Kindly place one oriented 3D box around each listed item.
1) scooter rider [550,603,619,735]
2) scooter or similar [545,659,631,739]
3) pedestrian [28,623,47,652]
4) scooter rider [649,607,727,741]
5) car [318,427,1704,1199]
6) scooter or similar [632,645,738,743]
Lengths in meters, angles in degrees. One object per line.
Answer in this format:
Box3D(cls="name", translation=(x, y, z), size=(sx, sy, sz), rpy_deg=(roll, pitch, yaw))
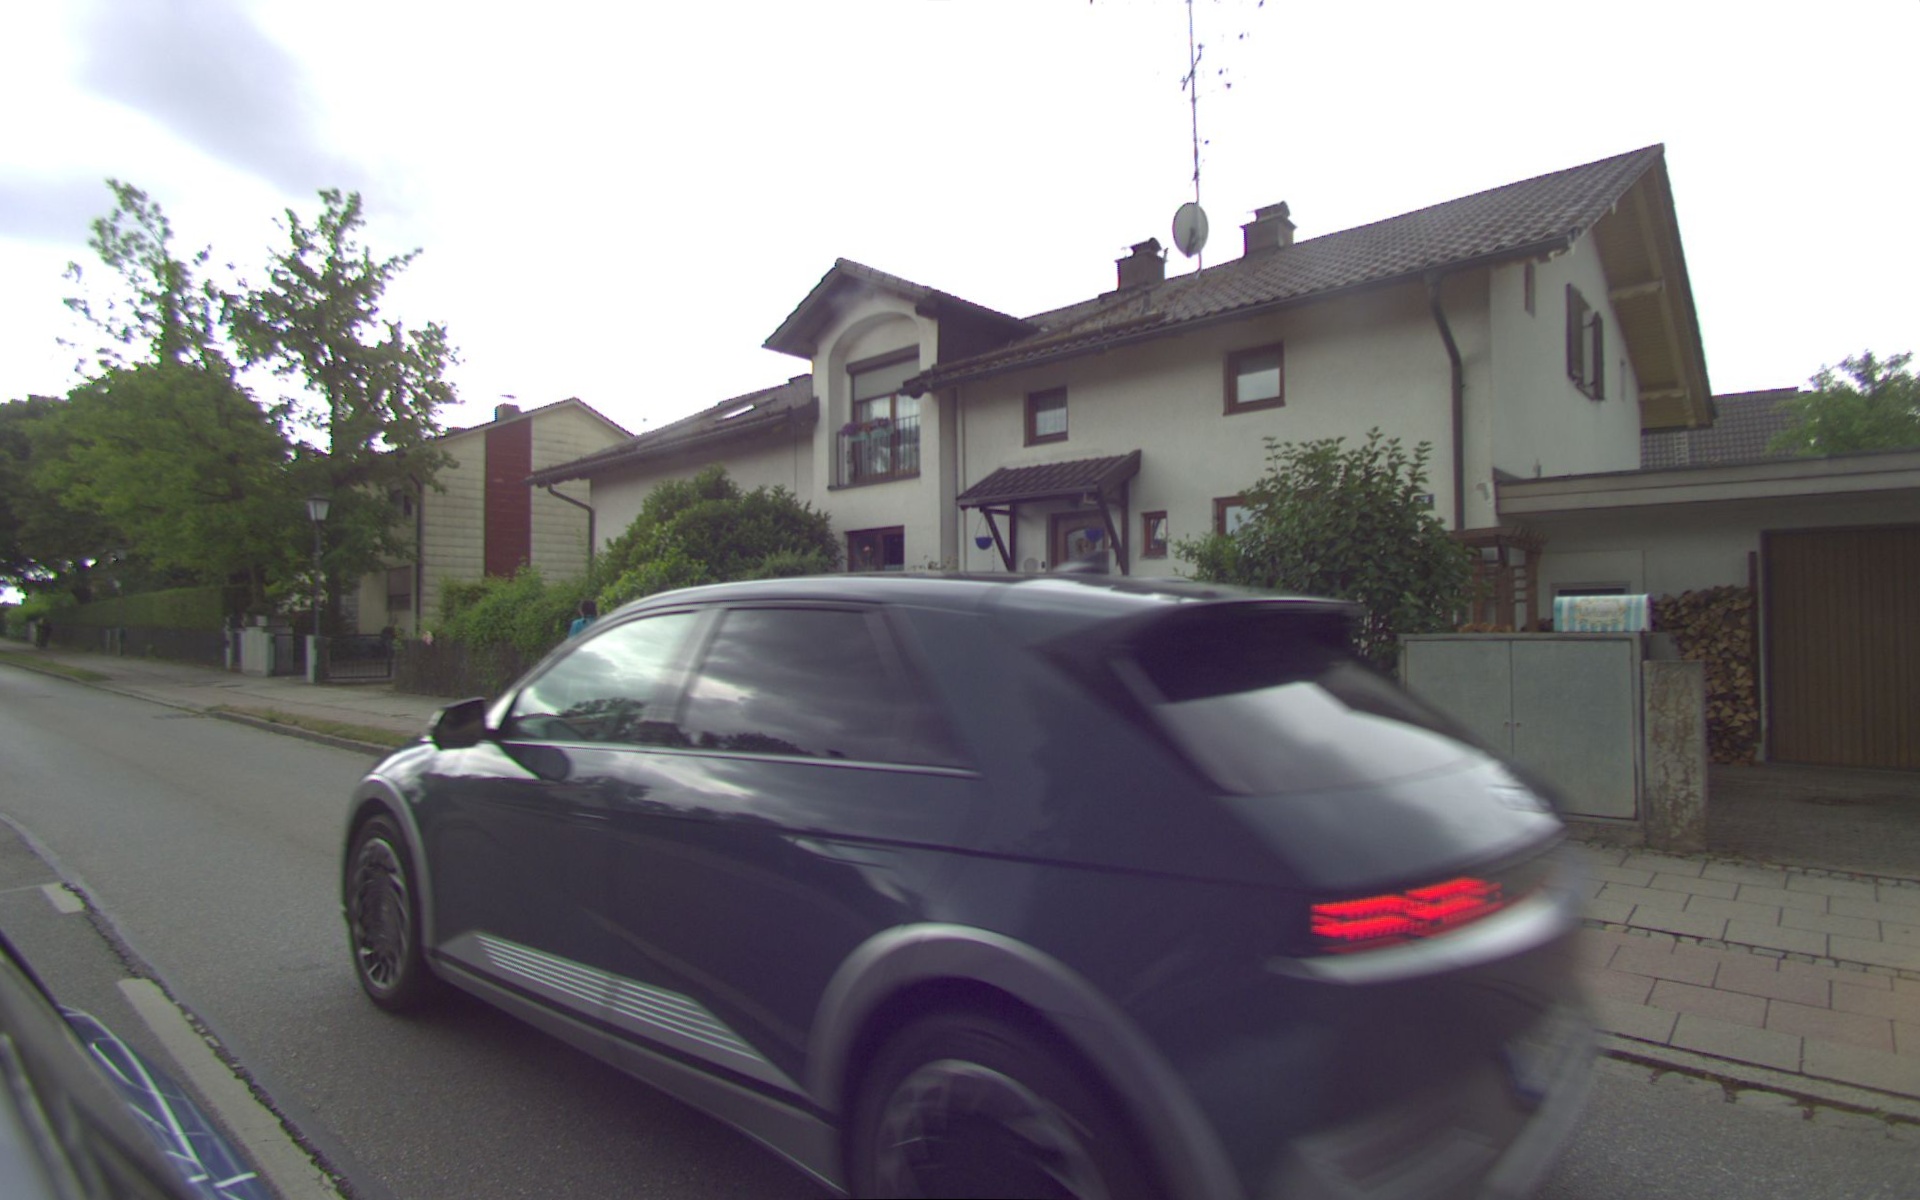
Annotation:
Box3D(cls="scooter rider", translation=(-4.445, 0.793, 11.976), size=(0.716, 1.501, 0.497), rpy_deg=(-2, -2, 43))
Box3D(cls="scooter or similar", translation=(-4.374, 1.140, 11.880), size=(1.061, 0.856, 0.516), rpy_deg=(-2, -1, 42))
Box3D(cls="pedestrian", translation=(-46.072, 1.882, 50.545), size=(0.563, 1.448, 0.623), rpy_deg=(-2, -2, 41))
Box3D(cls="scooter rider", translation=(-3.113, 0.824, 11.606), size=(0.580, 1.484, 0.655), rpy_deg=(-2, -2, 42))
Box3D(cls="car", translation=(-0.313, 0.640, 3.339), size=(4.309, 1.587, 1.910), rpy_deg=(-1, -2, 41))
Box3D(cls="scooter or similar", translation=(-3.178, 1.051, 11.667), size=(1.178, 1.045, 0.654), rpy_deg=(-2, -2, 42))
